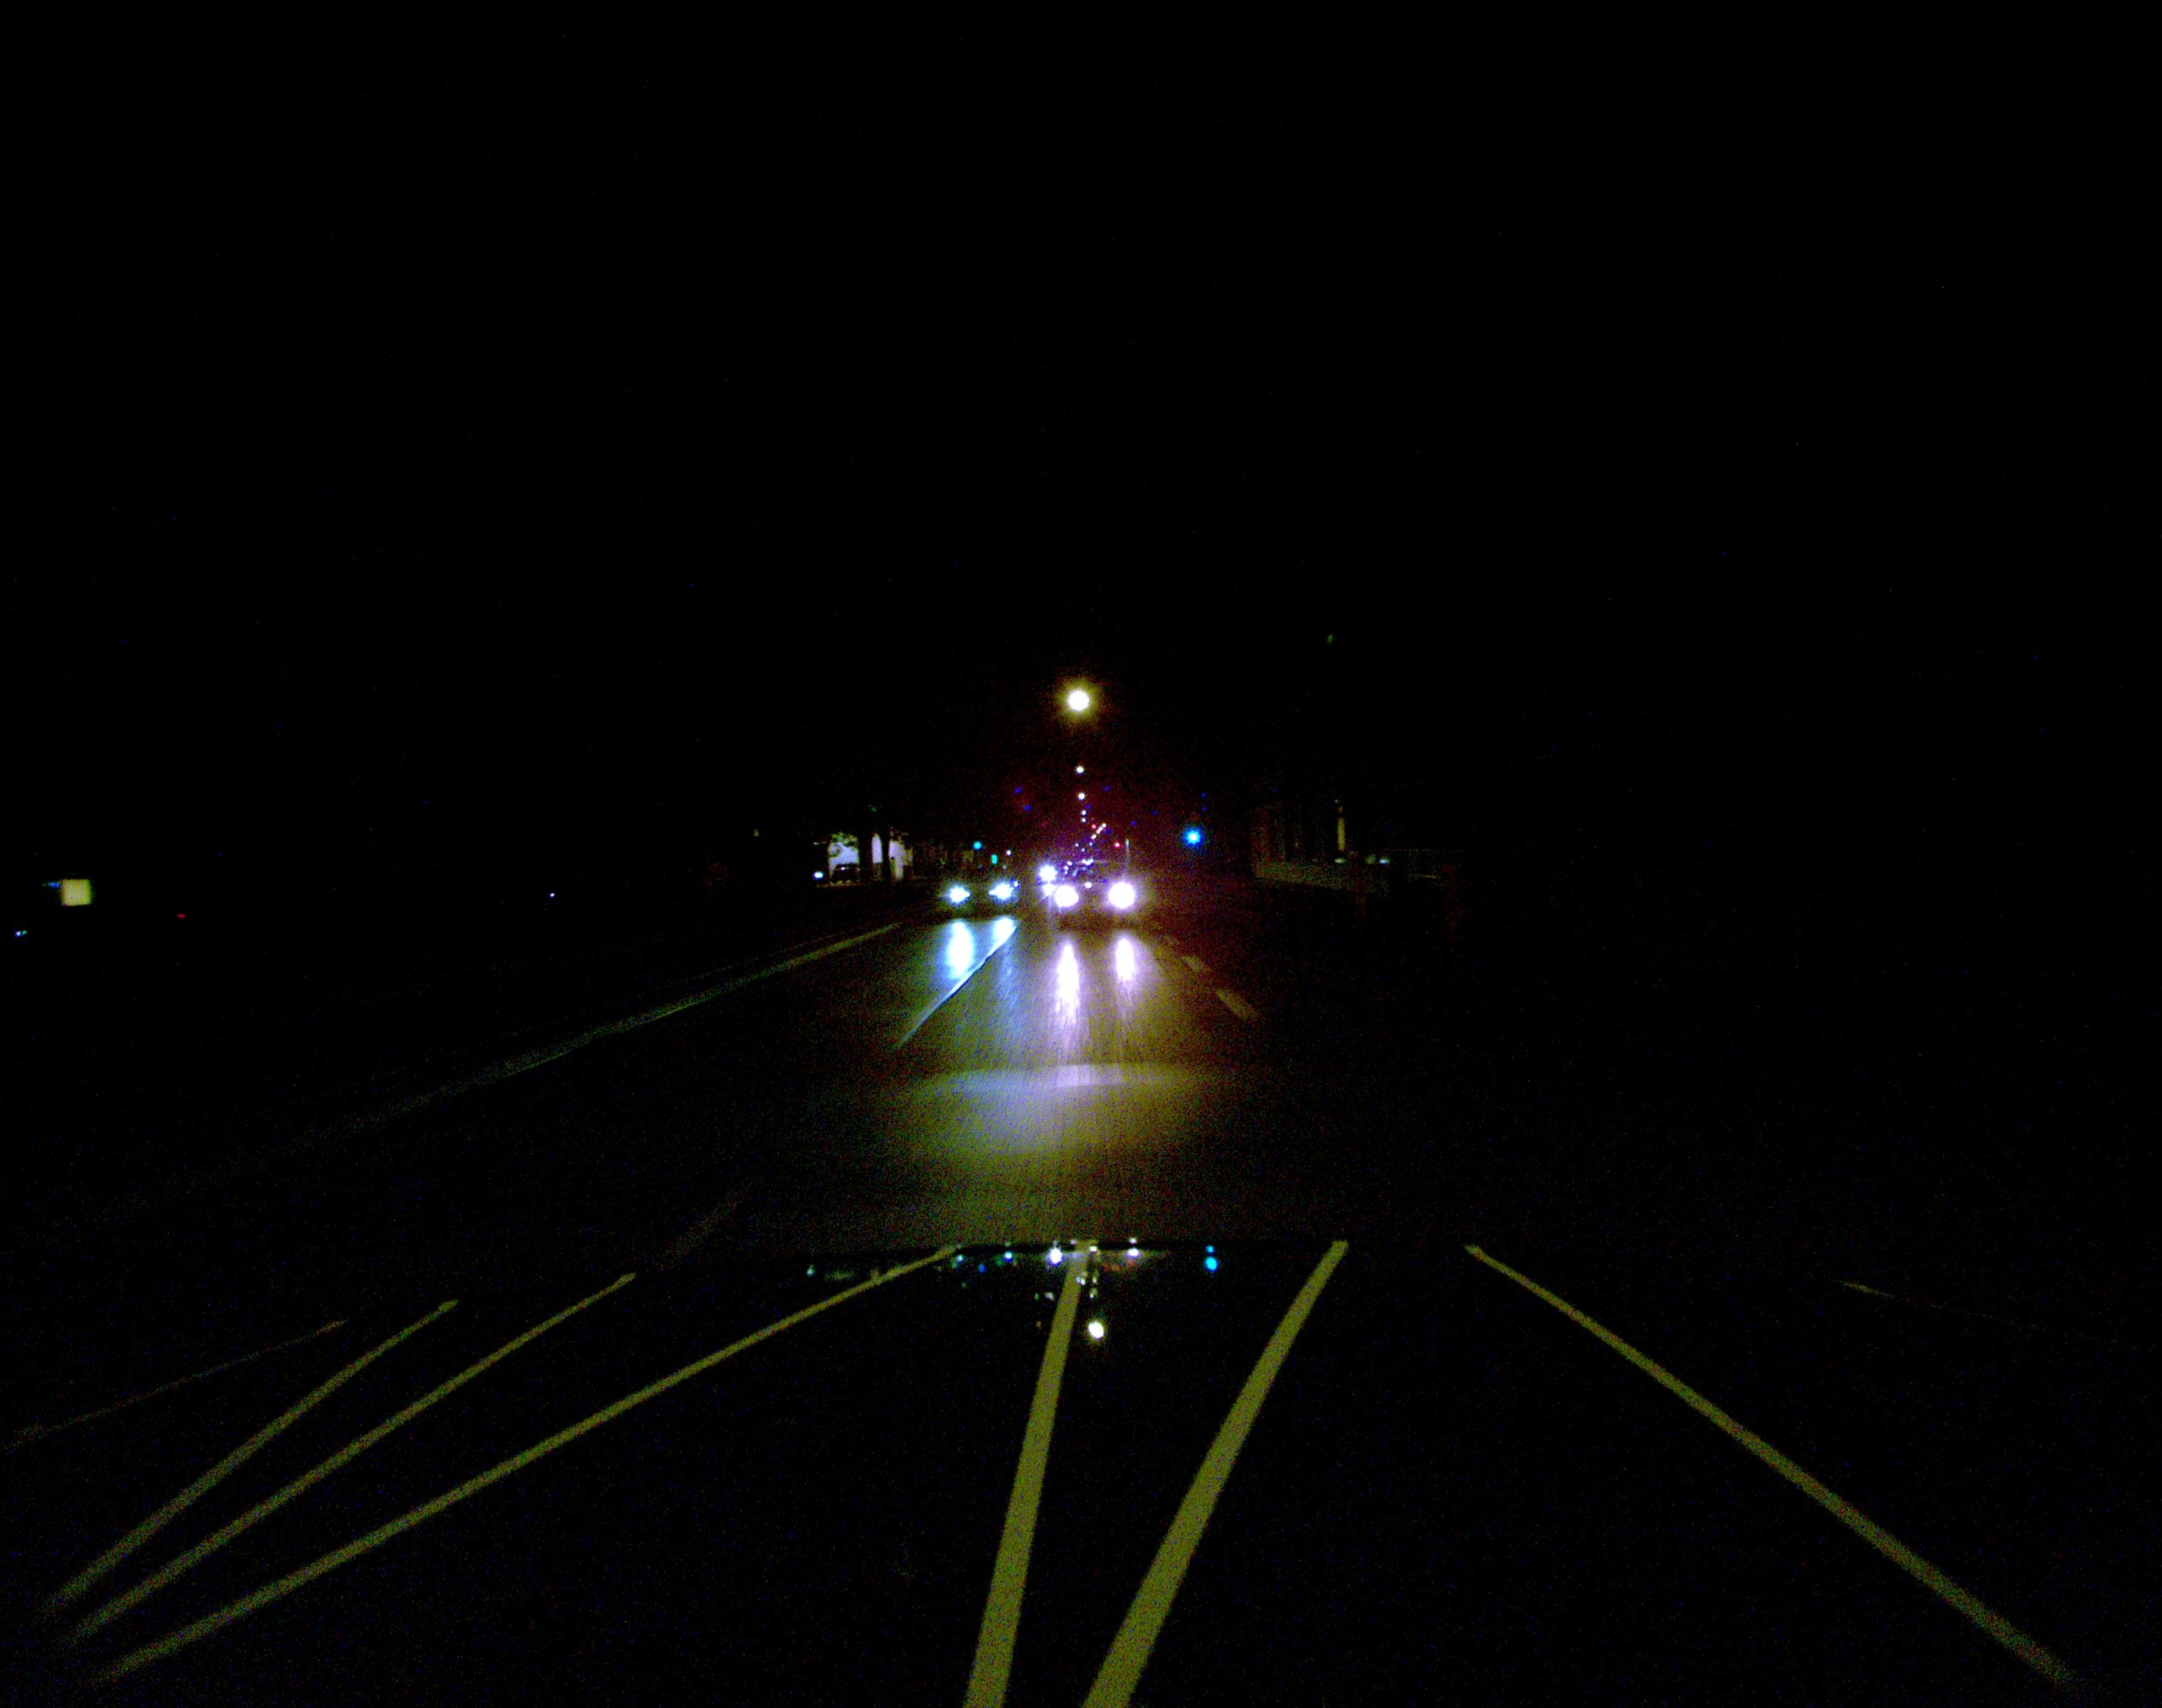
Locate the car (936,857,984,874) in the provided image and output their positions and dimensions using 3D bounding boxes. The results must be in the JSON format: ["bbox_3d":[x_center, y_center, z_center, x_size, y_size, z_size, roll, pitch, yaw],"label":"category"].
[{"bbox_3d":[-11.212,1.025,70.372,4.092,1.446,1.786,-1,1,0],"label":"car"}]

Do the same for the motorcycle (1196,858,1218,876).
[{"bbox_3d":[8.529,0.848,51.469,0.574,1.173,2.029,-2,0,-17],"label":"motorcycle"}]

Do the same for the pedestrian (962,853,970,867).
[{"bbox_3d":[-14.792,0.808,97.838,0.721,1.778,0.970,-1,1,1],"label":"pedestrian"}]

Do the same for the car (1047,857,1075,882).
[{"bbox_3d":[-1.312,0.990,50.689,1.729,1.455,3.999,-1,1,0],"label":"car"}]

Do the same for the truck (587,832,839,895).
[{"bbox_3d":[-26.666,0.646,55.627,16.820,3.961,3.131,-2,1,0],"label":"truck"}]

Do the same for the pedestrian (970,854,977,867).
[{"bbox_3d":[-13.864,0.811,97.777,0.737,1.707,0.985,-1,1,1],"label":"pedestrian"}]

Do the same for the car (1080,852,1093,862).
[{"bbox_3d":[1.019,0.447,132.060,1.998,1.626,4.001,-1,0,3],"label":"car"}]

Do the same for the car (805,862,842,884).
[{"bbox_3d":[-21.246,1.521,62.818,1.731,1.587,3.999,-2,1,-1],"label":"car"}]

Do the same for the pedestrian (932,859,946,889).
[{"bbox_3d":[-8.042,1.135,43.058,0.622,1.629,0.679,-2,1,1],"label":"pedestrian"}]

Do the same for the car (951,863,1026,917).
[{"bbox_3d":[-2.865,1.078,24.430,1.729,1.421,4.498,-3,1,1],"label":"car"}]

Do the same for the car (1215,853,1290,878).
[{"bbox_3d":[10.840,0.699,48.349,1.896,1.416,4.718,-1,1,-31],"label":"car"}]

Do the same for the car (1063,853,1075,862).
[{"bbox_3d":[-1.936,0.563,122.870,1.618,1.259,3.628,-3,0,4],"label":"car"}]

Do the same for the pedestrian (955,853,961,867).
[{"bbox_3d":[-15.855,0.811,97.915,0.675,1.806,0.906,-1,1,1],"label":"pedestrian"}]

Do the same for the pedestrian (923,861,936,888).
[{"bbox_3d":[-8.846,1.204,44.422,0.574,1.525,0.633,-2,1,1],"label":"pedestrian"}]

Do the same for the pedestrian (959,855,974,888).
[{"bbox_3d":[-6.363,0.945,42.171,0.623,1.801,0.759,-2,1,1],"label":"pedestrian"}]

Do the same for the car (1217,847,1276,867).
[{"bbox_3d":[14.472,0.271,66.581,4.672,1.620,2.003,-2,1,-1],"label":"car"}]

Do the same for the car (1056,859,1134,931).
[{"bbox_3d":[0.376,0.910,18.627,1.634,1.430,3.840,-3,1,2],"label":"car"}]
